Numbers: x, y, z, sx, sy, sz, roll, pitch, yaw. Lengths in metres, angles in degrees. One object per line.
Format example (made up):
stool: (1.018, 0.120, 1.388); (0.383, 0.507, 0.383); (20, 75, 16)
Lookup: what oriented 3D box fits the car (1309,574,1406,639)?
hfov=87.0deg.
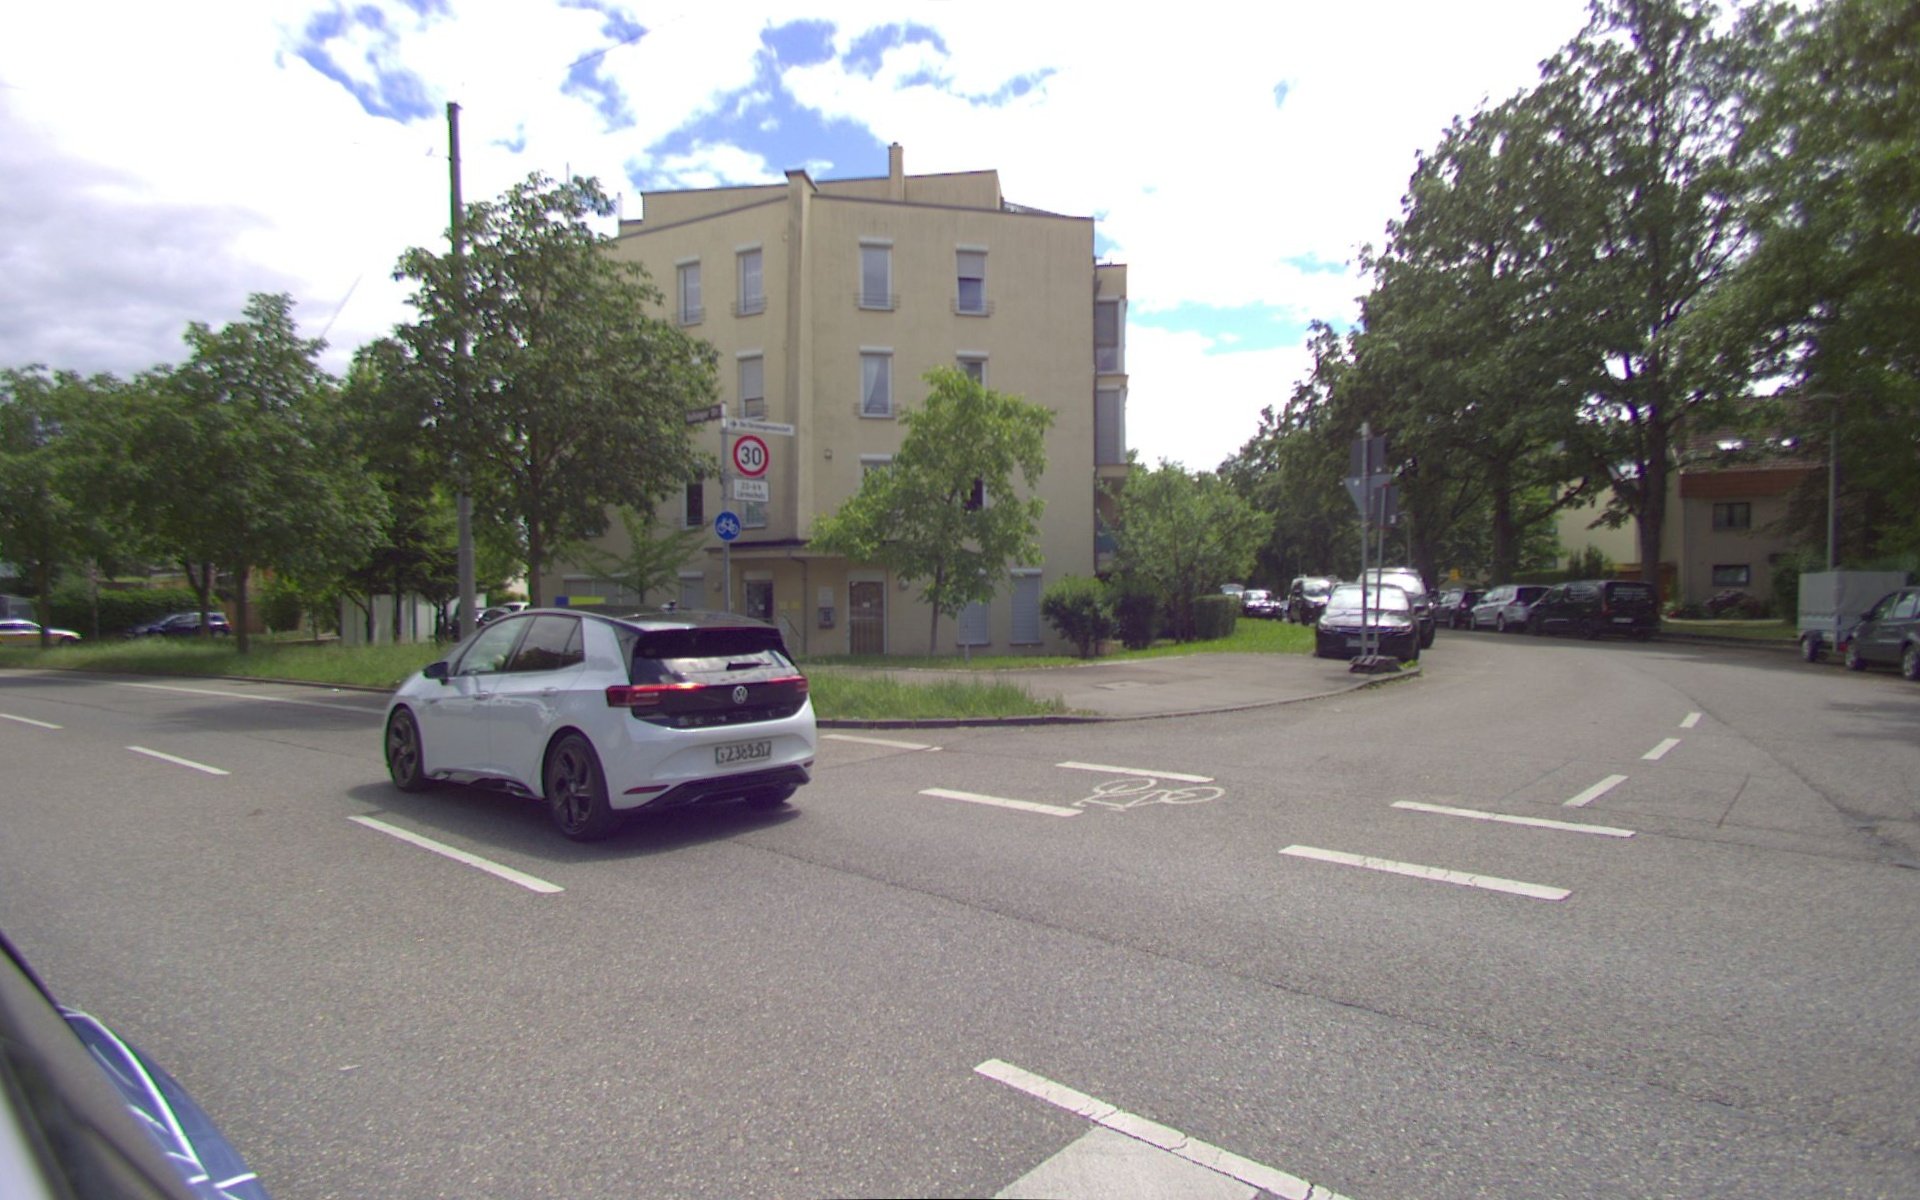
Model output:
car: (12.033, 0.186, 30.900); (1.744, 1.807, 3.992); (-1, 0, 7)

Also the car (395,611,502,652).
car: (-19.680, 1.219, 39.132); (1.772, 1.431, 3.991); (-2, -2, 7)

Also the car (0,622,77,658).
car: (-41.099, 1.787, 43.811); (1.526, 1.331, 4.015); (-1, 3, 23)

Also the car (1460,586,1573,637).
car: (20.101, 0.392, 36.774); (1.918, 1.716, 4.270); (-1, 0, 4)

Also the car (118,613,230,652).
car: (-37.809, 1.512, 48.789); (1.712, 1.694, 3.934); (-1, 1, 32)

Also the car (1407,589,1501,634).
car: (20.483, 0.450, 42.166); (1.970, 1.716, 4.270); (-1, 0, 4)

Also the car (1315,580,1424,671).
car: (7.942, 0.413, 19.547); (1.727, 1.408, 4.120); (-1, 3, 24)

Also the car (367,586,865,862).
car: (-2.807, 0.717, 7.858); (3.997, 1.592, 1.880); (0, 0, 40)

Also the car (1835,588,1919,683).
car: (16.443, 0.531, 16.964); (1.688, 1.463, 3.964); (-2, 0, 26)

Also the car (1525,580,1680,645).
car: (19.538, 0.363, 31.067); (2.099, 1.807, 4.413); (-1, 0, 4)

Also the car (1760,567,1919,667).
car: (18.314, 0.382, 20.857); (1.834, 1.858, 3.968); (-1, -2, 24)

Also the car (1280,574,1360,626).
car: (12.547, 0.009, 35.524); (1.695, 1.676, 3.993); (-1, 0, 6)

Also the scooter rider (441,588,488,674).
scooter rider: (-12.086, 0.733, 24.691); (0.793, 2.028, 0.670); (0, 3, 36)
